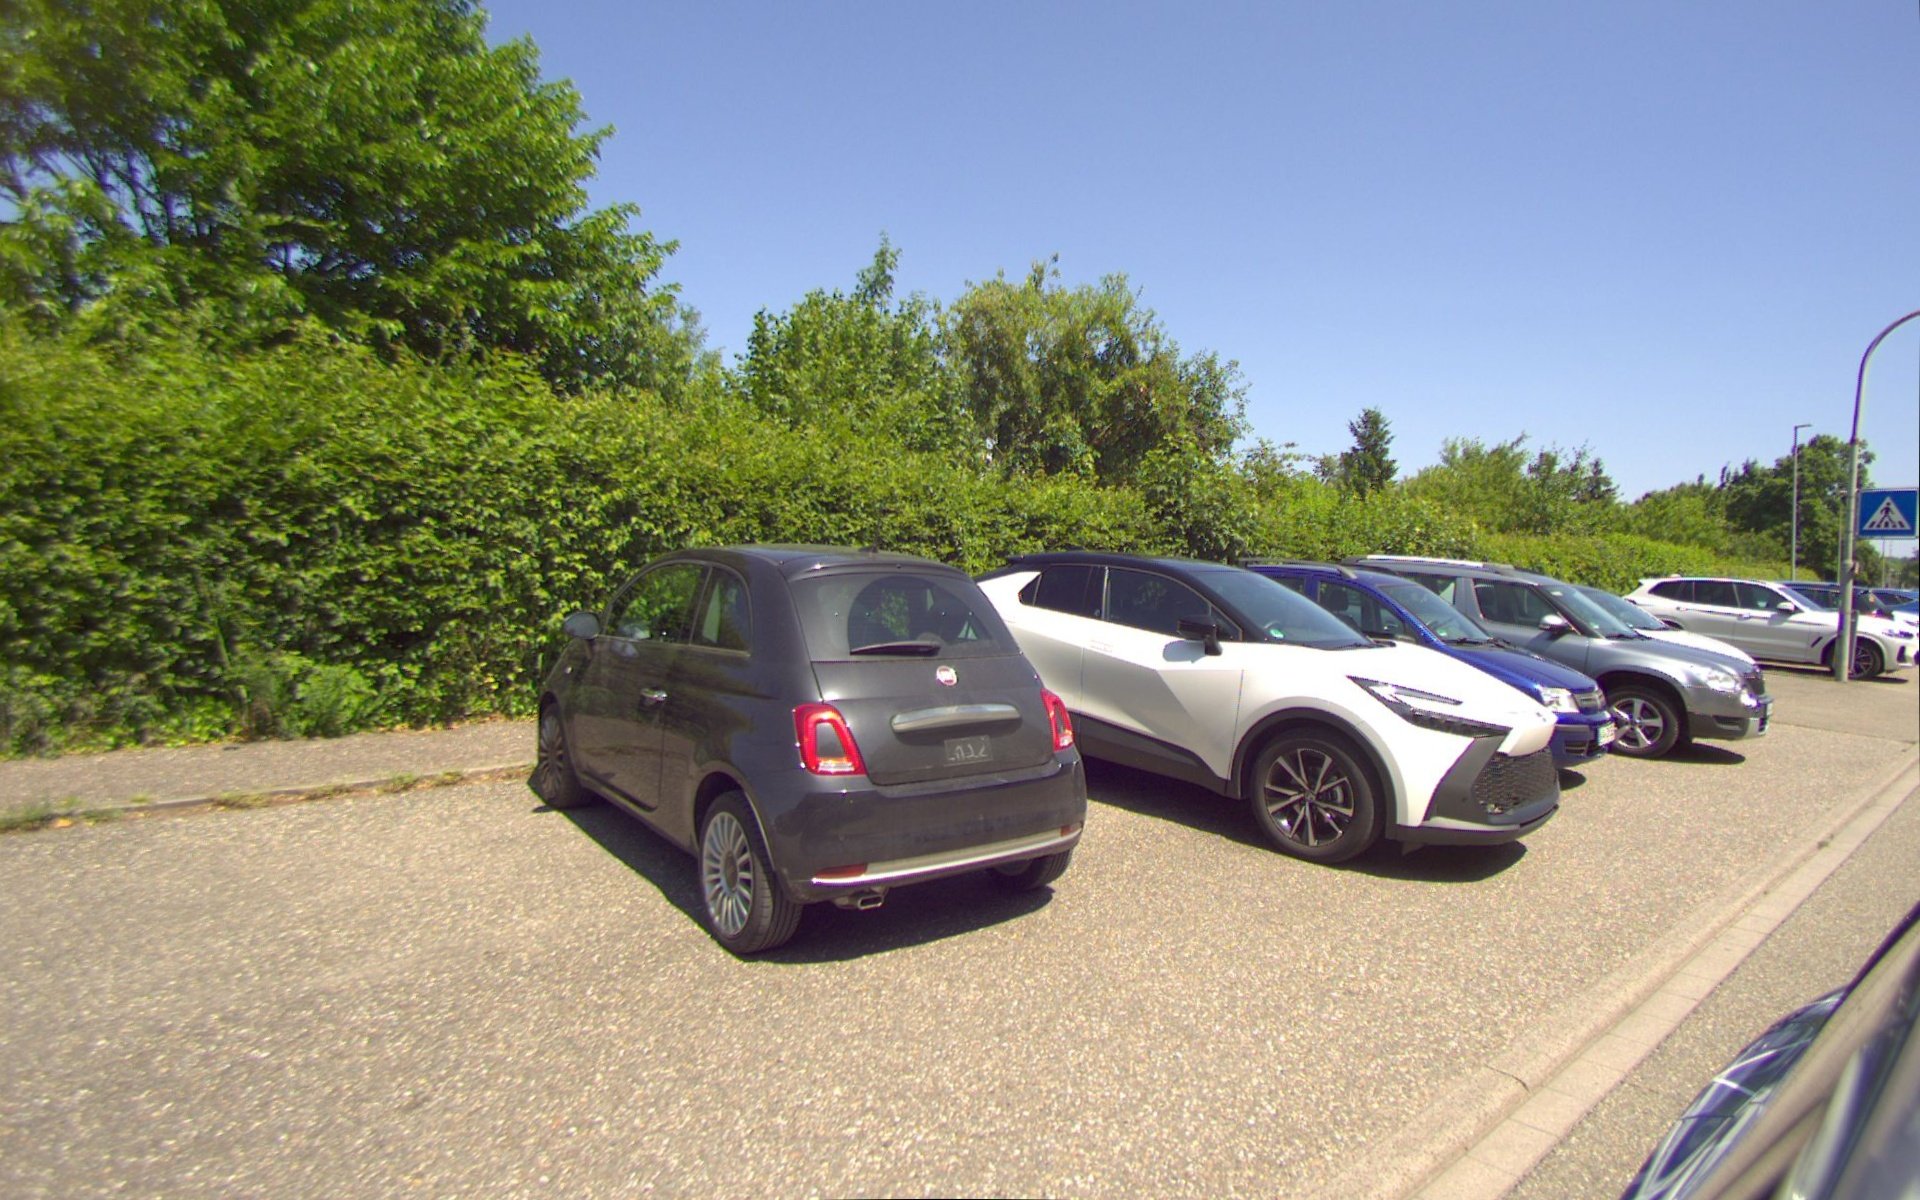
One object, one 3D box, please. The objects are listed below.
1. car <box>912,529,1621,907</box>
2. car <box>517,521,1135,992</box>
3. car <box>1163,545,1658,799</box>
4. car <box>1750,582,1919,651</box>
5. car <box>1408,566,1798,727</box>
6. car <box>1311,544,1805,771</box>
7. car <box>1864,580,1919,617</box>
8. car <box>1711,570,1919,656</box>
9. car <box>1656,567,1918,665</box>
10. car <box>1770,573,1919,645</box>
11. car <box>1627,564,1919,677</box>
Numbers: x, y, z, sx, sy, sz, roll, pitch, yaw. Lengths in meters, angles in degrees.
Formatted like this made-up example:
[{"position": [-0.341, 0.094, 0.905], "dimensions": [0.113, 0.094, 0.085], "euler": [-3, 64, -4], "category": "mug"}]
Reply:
[{"position": [1.741, 0.439, 6.611], "dimensions": [3.965, 1.541, 1.835], "euler": [7, 5, 44], "category": "car"}, {"position": [-0.948, 0.415, 5.101], "dimensions": [1.558, 1.522, 3.398], "euler": [1, 3, -38], "category": "car"}, {"position": [3.665, 0.425, 8.611], "dimensions": [3.455, 1.545, 1.515], "euler": [7, 5, 44], "category": "car"}, {"position": [22.544, 0.401, 25.386], "dimensions": [1.651, 1.426, 4.033], "euler": [0, 5, -43], "category": "car"}, {"position": [7.809, 0.450, 12.608], "dimensions": [1.580, 1.468, 3.703], "euler": [1, 5, -37], "category": "car"}, {"position": [5.881, 0.401, 10.308], "dimensions": [1.637, 1.660, 3.965], "euler": [0, 5, -45], "category": "car"}, {"position": [54.161, -0.022, 57.171], "dimensions": [4.484, 1.873, 1.669], "euler": [6, 4, 44], "category": "car"}, {"position": [20.334, 0.251, 23.646], "dimensions": [1.747, 1.661, 4.165], "euler": [-1, 5, -44], "category": "car"}, {"position": [17.222, 0.255, 21.213], "dimensions": [1.736, 1.706, 3.980], "euler": [0, 3, -42], "category": "car"}, {"position": [24.641, 0.238, 27.334], "dimensions": [1.645, 1.661, 4.034], "euler": [0, 5, -42], "category": "car"}, {"position": [15.536, 0.271, 19.169], "dimensions": [1.819, 1.750, 4.464], "euler": [-1, 4, -40], "category": "car"}]
